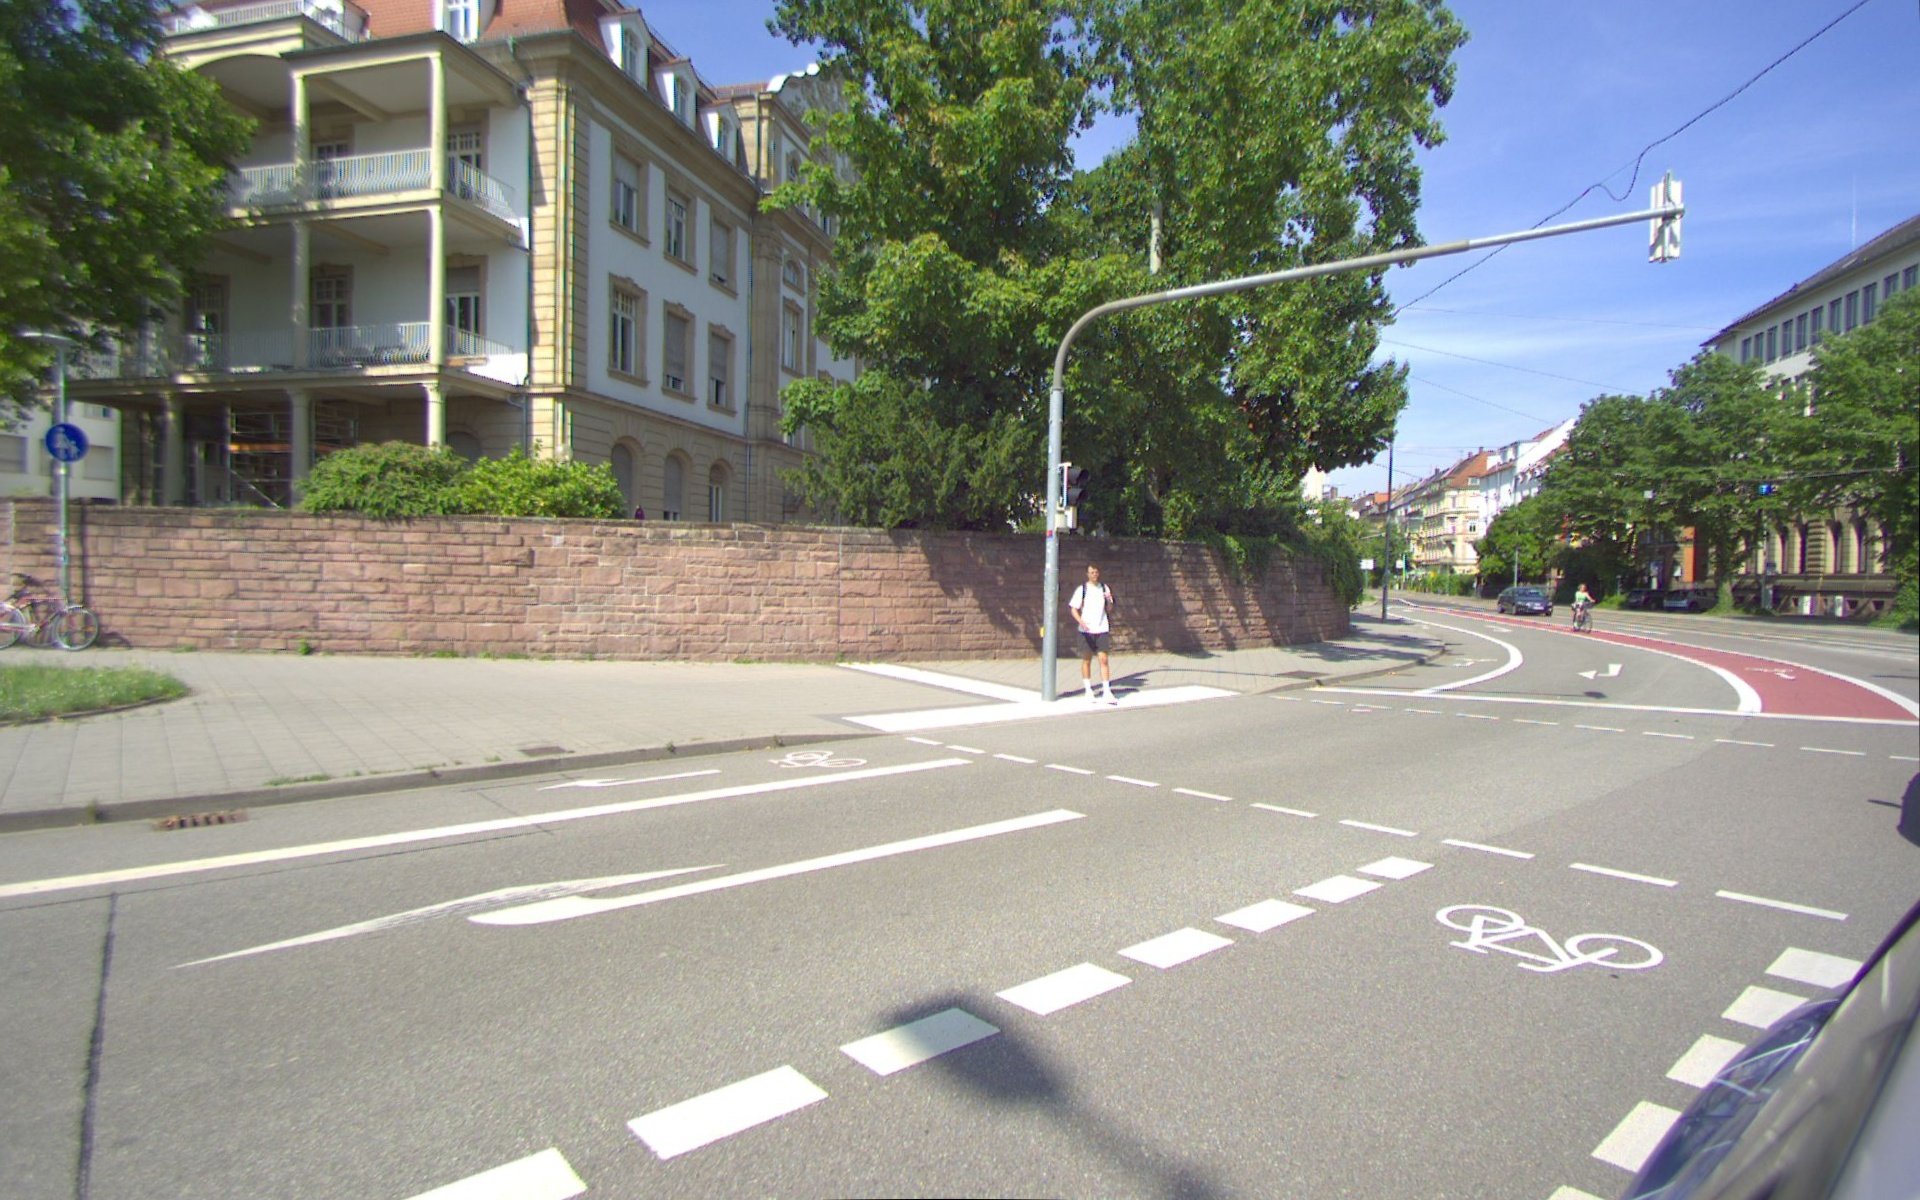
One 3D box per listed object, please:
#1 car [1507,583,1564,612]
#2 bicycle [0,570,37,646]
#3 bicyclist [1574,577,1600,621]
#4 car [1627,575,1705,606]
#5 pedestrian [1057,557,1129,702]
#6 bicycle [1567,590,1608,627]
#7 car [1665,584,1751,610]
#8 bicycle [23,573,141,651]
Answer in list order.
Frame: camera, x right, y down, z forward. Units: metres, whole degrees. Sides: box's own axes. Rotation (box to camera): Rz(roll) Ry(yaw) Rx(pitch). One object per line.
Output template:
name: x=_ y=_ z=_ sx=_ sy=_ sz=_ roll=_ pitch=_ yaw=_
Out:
car: x=30.025 y=-0.177 z=52.895 sx=1.779 sy=1.393 sz=4.252 roll=1 pitch=2 yaw=18
bicycle: x=-14.823 y=0.110 z=15.174 sx=1.406 sy=1.136 sz=0.350 roll=1 pitch=1 yaw=-27
bicyclist: x=22.769 y=-0.027 z=36.768 sx=0.580 sy=1.567 sz=0.926 roll=-1 pitch=0 yaw=17
car: x=49.115 y=-0.697 z=70.474 sx=3.941 sy=2.038 sz=1.992 roll=2 pitch=2 yaw=14
pedestrian: x=1.825 y=0.377 z=13.868 sx=0.649 sy=1.897 sz=0.788 roll=4 pitch=2 yaw=31
bicycle: x=22.794 y=0.292 z=36.803 sx=0.677 sy=1.237 sz=2.175 roll=2 pitch=2 yaw=16
car: x=47.896 y=-0.198 z=64.884 sx=3.941 sy=1.482 sz=1.992 roll=2 pitch=2 yaw=14
bicycle: x=-13.233 y=0.177 z=15.270 sx=1.406 sy=1.136 sz=0.350 roll=1 pitch=1 yaw=-6
